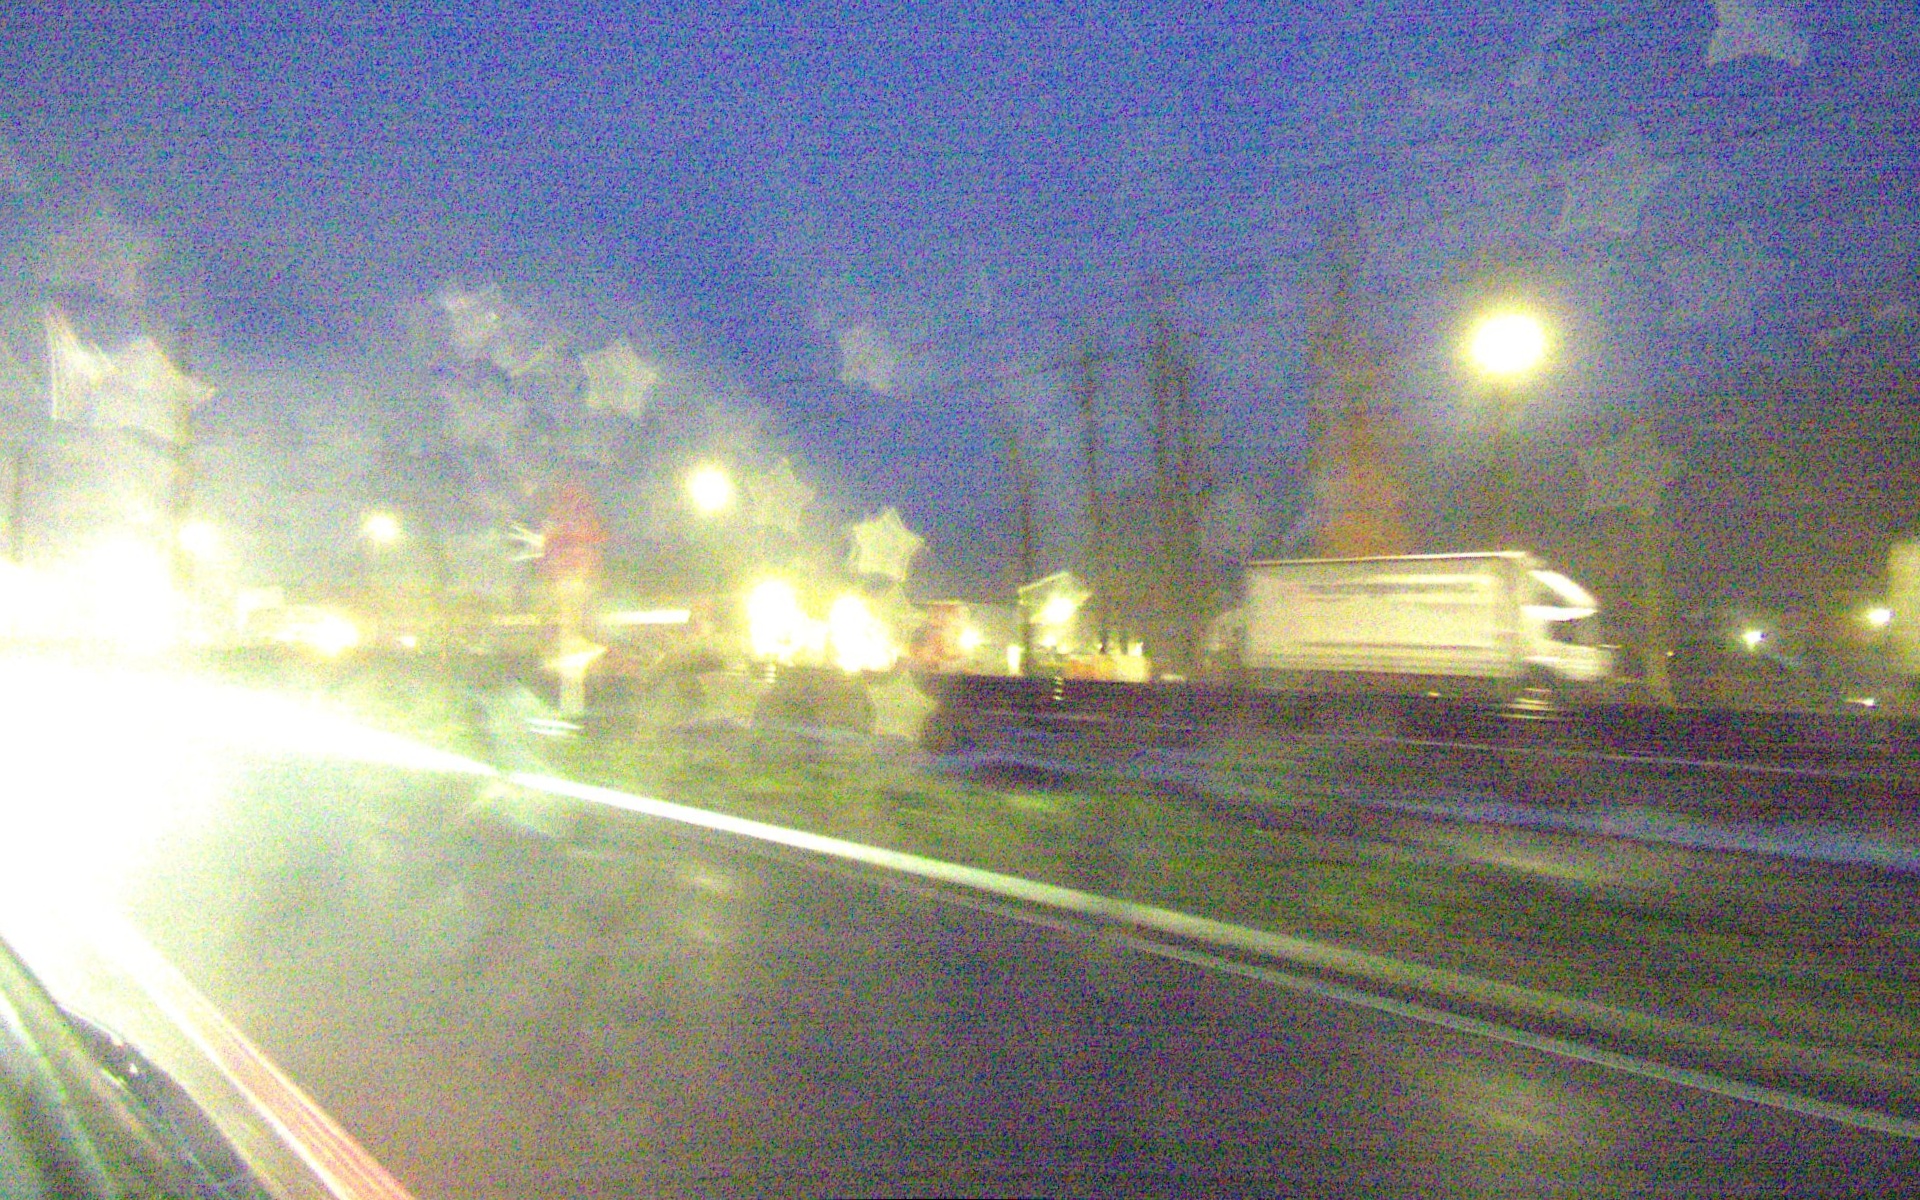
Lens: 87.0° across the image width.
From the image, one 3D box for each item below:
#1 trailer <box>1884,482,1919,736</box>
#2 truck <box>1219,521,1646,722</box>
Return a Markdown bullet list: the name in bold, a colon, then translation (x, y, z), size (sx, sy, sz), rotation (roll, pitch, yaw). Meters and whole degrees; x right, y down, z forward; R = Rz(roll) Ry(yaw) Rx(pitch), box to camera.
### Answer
- **trailer**: translation (25.755, 0.091, 17.039), size (14.826, 5.050, 3.930), rotation (-1, 0, 41)
- **truck**: translation (12.687, 0.529, 28.086), size (10.206, 4.644, 3.404), rotation (-1, 0, 41)
